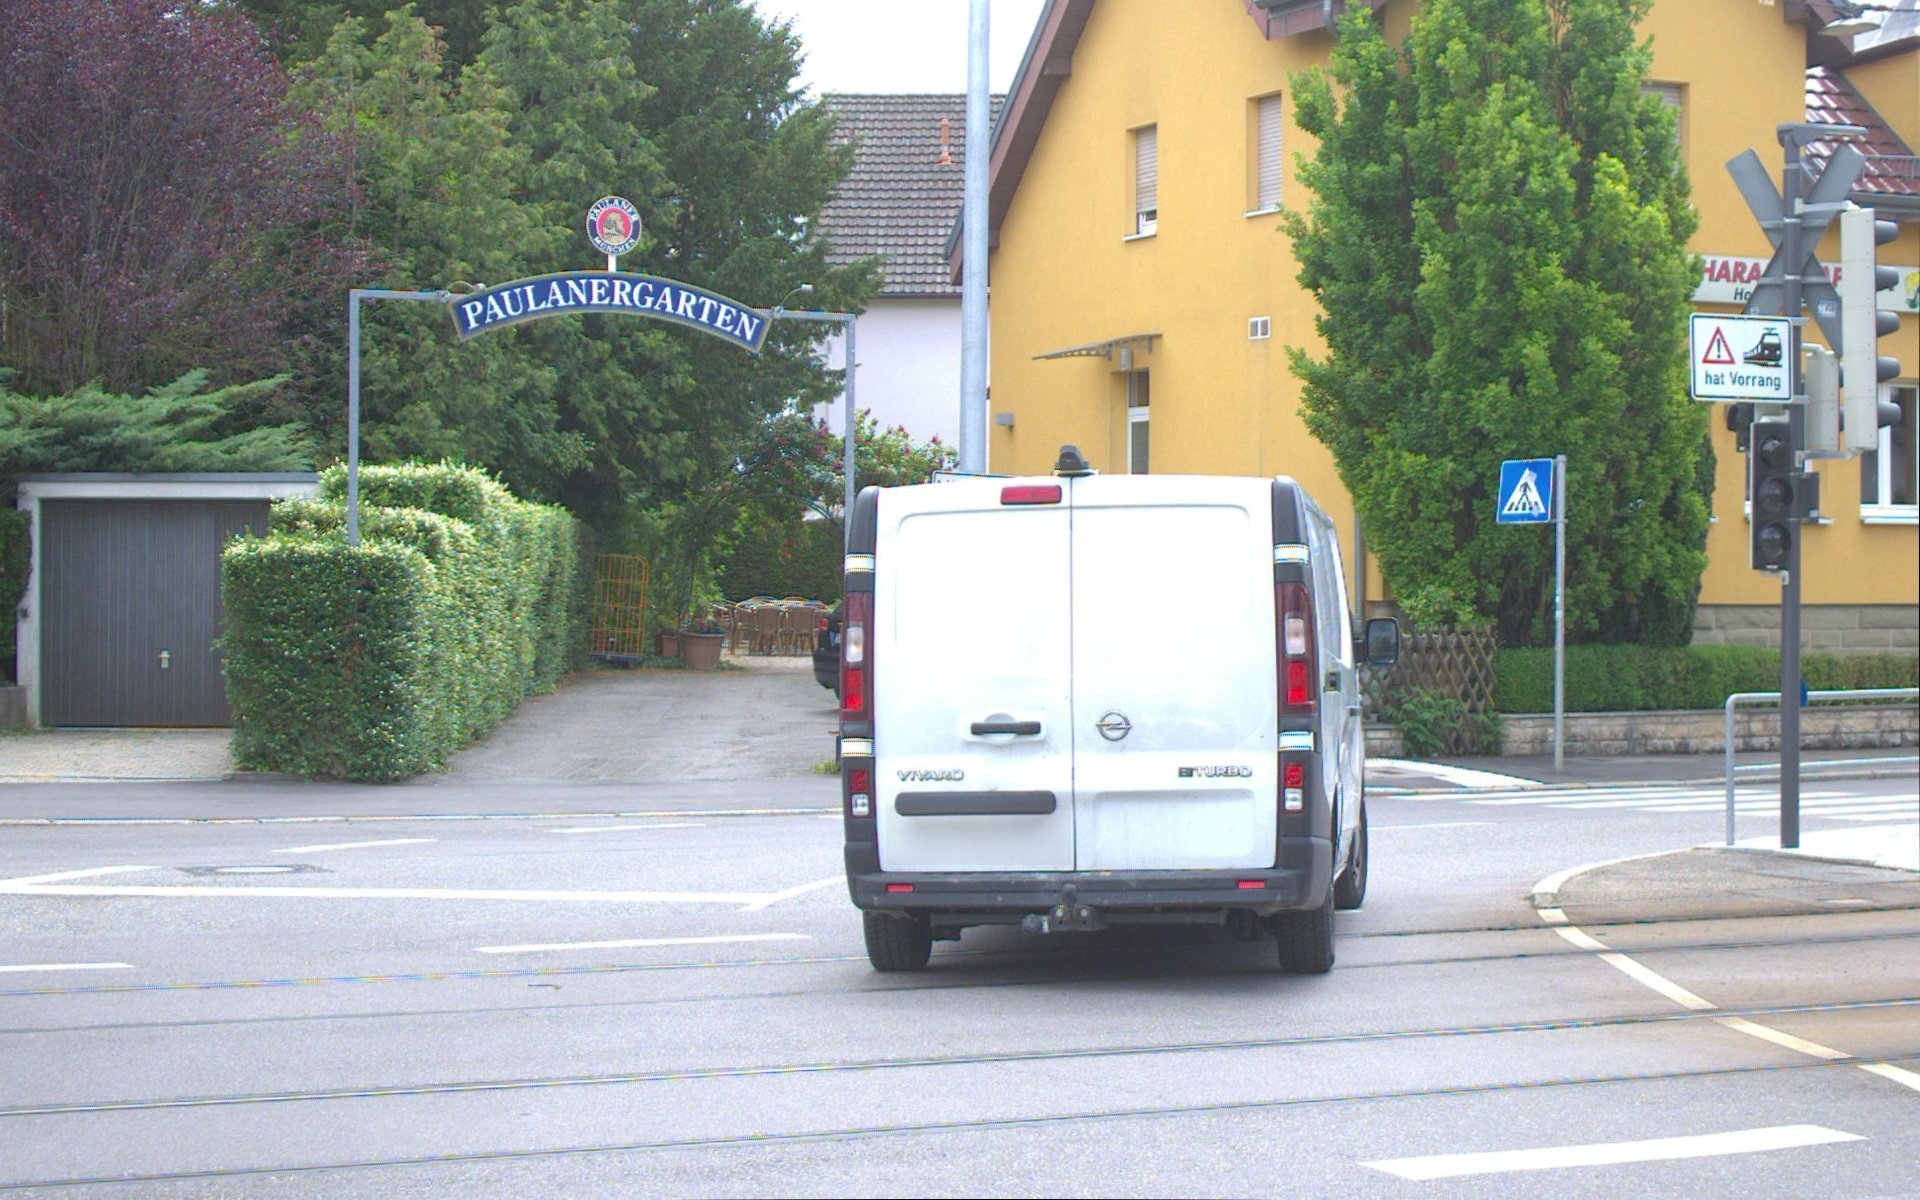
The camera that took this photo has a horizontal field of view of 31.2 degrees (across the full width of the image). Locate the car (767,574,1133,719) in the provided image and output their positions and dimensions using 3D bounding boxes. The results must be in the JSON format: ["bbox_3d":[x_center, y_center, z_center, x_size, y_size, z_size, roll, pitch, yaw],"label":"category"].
[{"bbox_3d":[-0.102,0.475,37.946,3.667,1.422,1.727,-1,3,-33],"label":"car"}]

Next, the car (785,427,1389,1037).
[{"bbox_3d":[0.745,0.440,14.982,2.117,2.127,5.439,1,1,6],"label":"car"}]
